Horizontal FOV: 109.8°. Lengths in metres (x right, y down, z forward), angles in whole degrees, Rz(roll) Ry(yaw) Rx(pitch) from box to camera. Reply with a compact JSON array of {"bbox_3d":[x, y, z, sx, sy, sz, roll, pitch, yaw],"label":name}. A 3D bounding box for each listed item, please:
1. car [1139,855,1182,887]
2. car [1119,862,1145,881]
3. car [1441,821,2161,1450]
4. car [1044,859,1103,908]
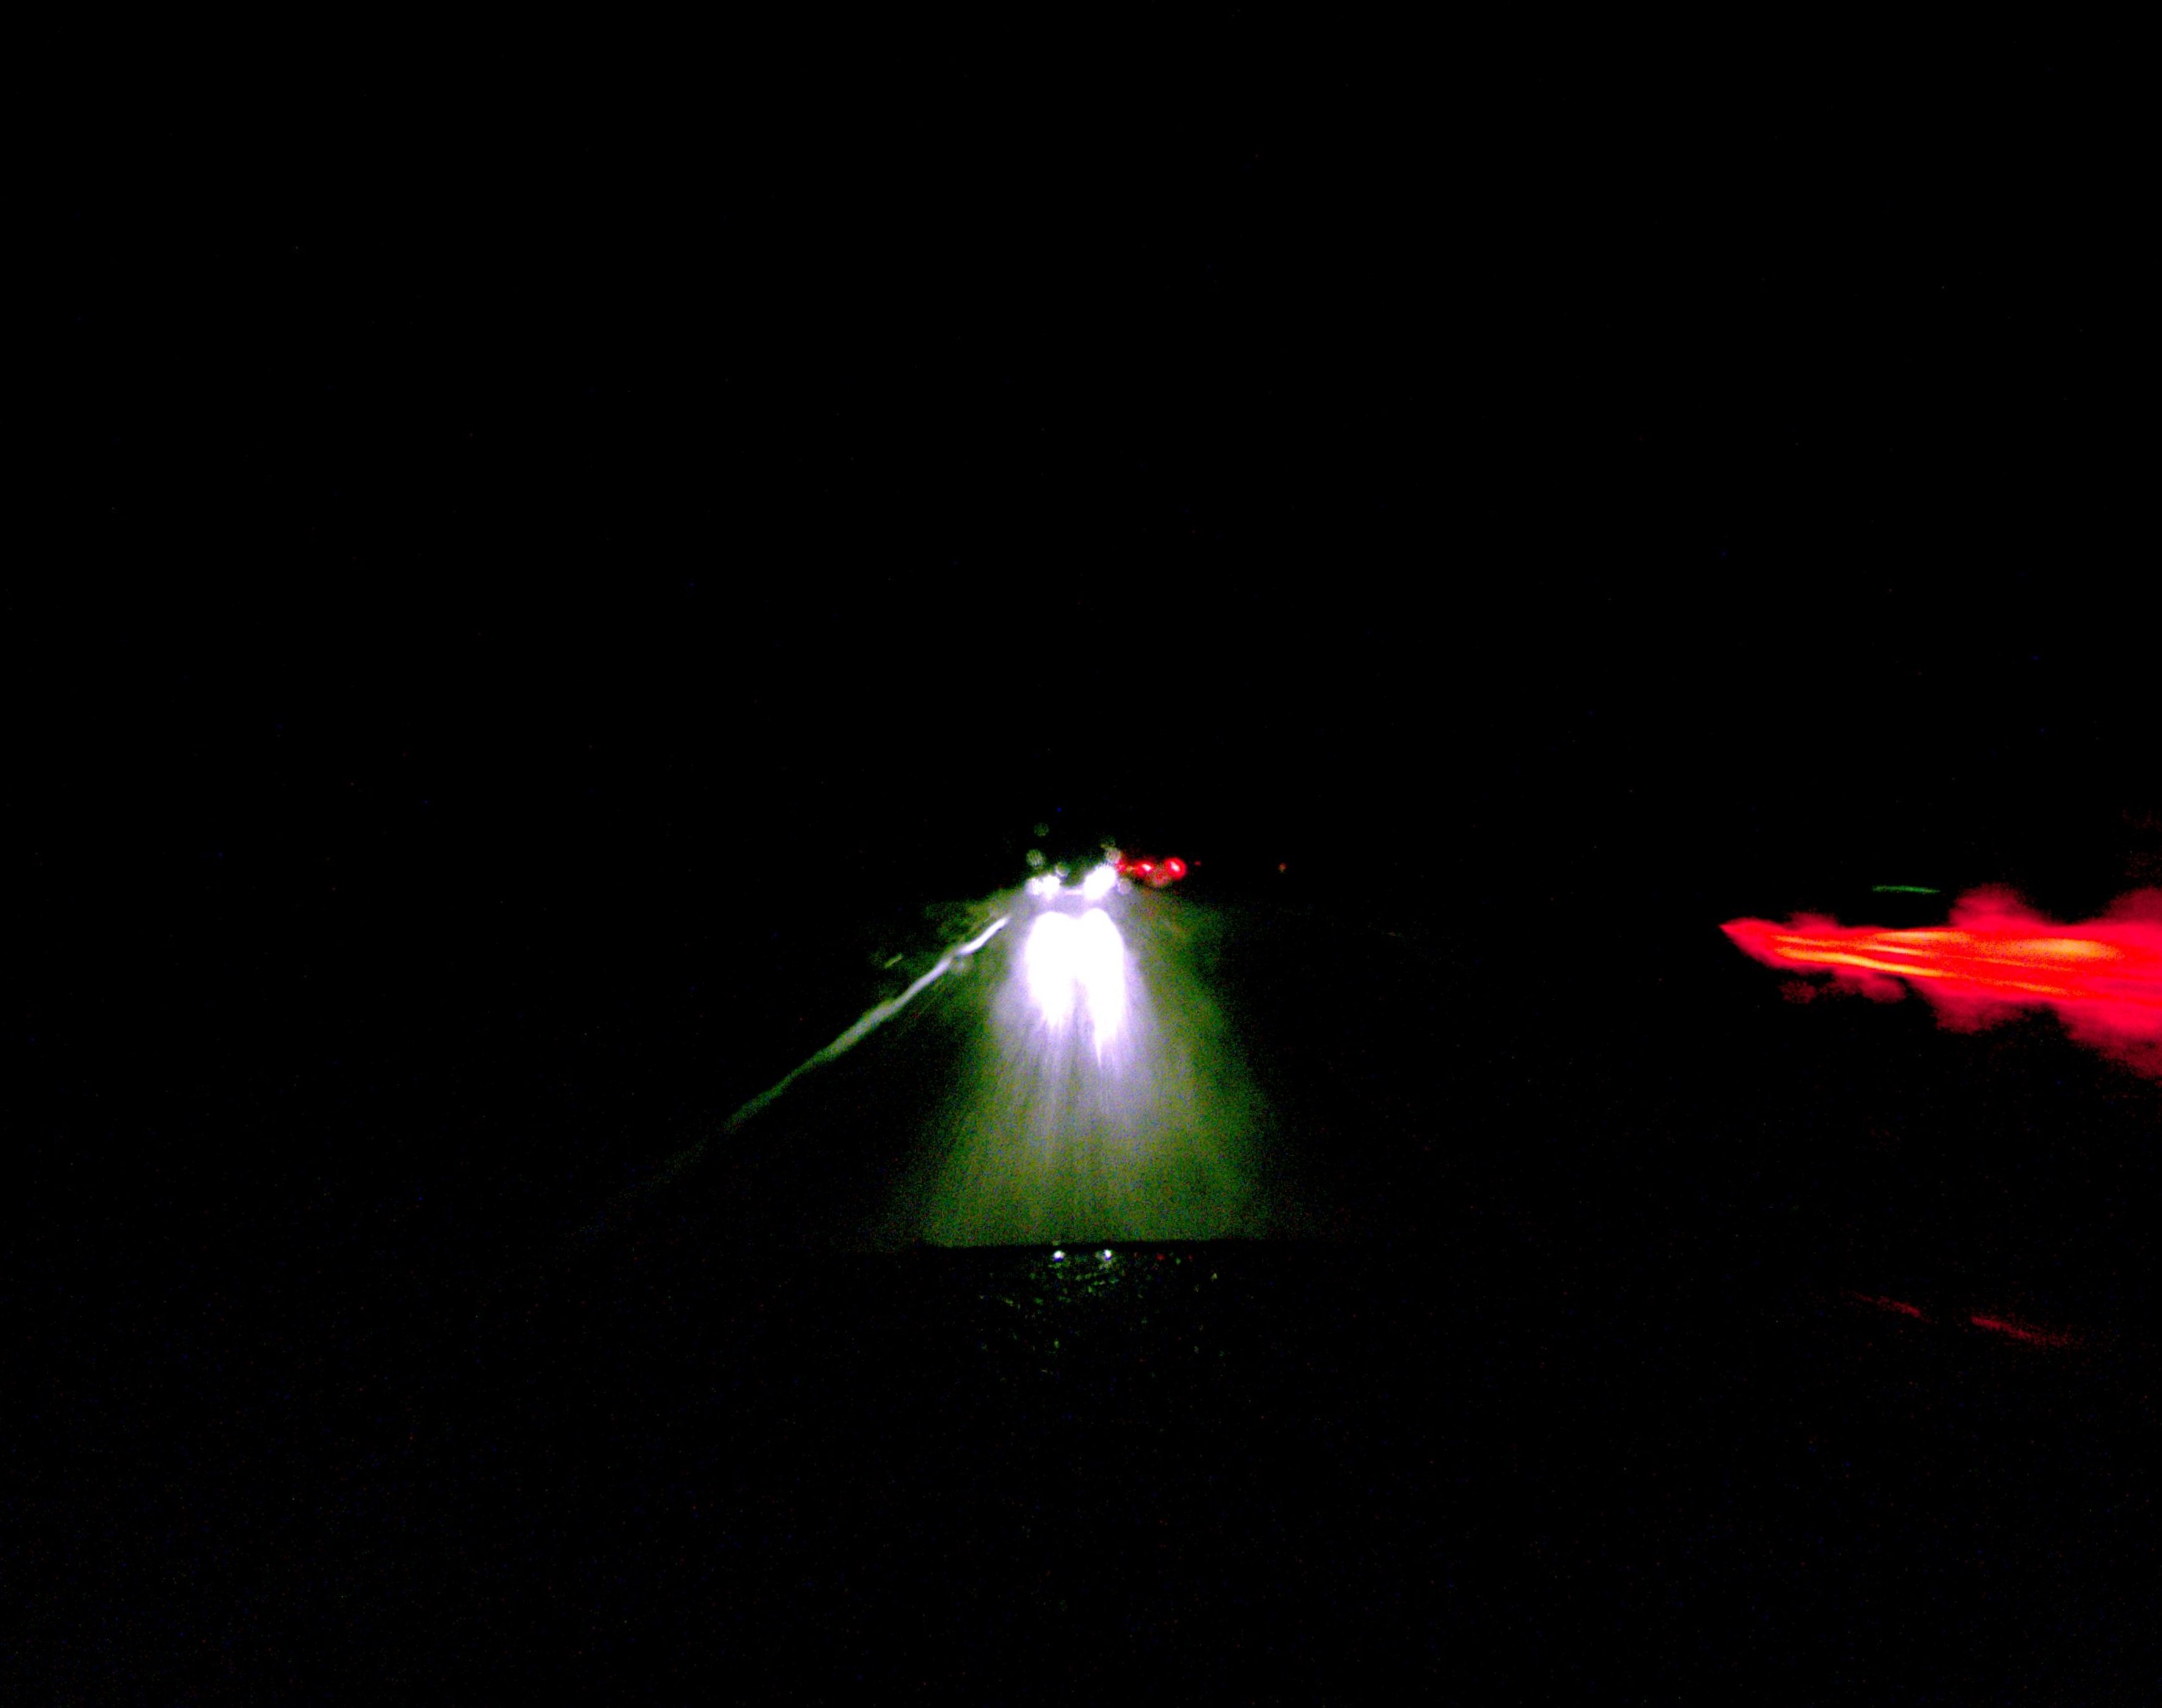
[{"bbox_3d":[3.954,0.815,38.436,1.790,1.501,3.600,-2,0,0],"label":"car"},{"bbox_3d":[4.352,1.482,65.176,1.980,1.507,4.347,-1,0,0],"label":"car"},{"bbox_3d":[3.747,0.726,3.913,1.864,1.628,4.143,-1,0,1],"label":"car"},{"bbox_3d":[-0.194,0.975,26.323,1.744,1.501,3.601,-2,-1,3],"label":"car"}]
